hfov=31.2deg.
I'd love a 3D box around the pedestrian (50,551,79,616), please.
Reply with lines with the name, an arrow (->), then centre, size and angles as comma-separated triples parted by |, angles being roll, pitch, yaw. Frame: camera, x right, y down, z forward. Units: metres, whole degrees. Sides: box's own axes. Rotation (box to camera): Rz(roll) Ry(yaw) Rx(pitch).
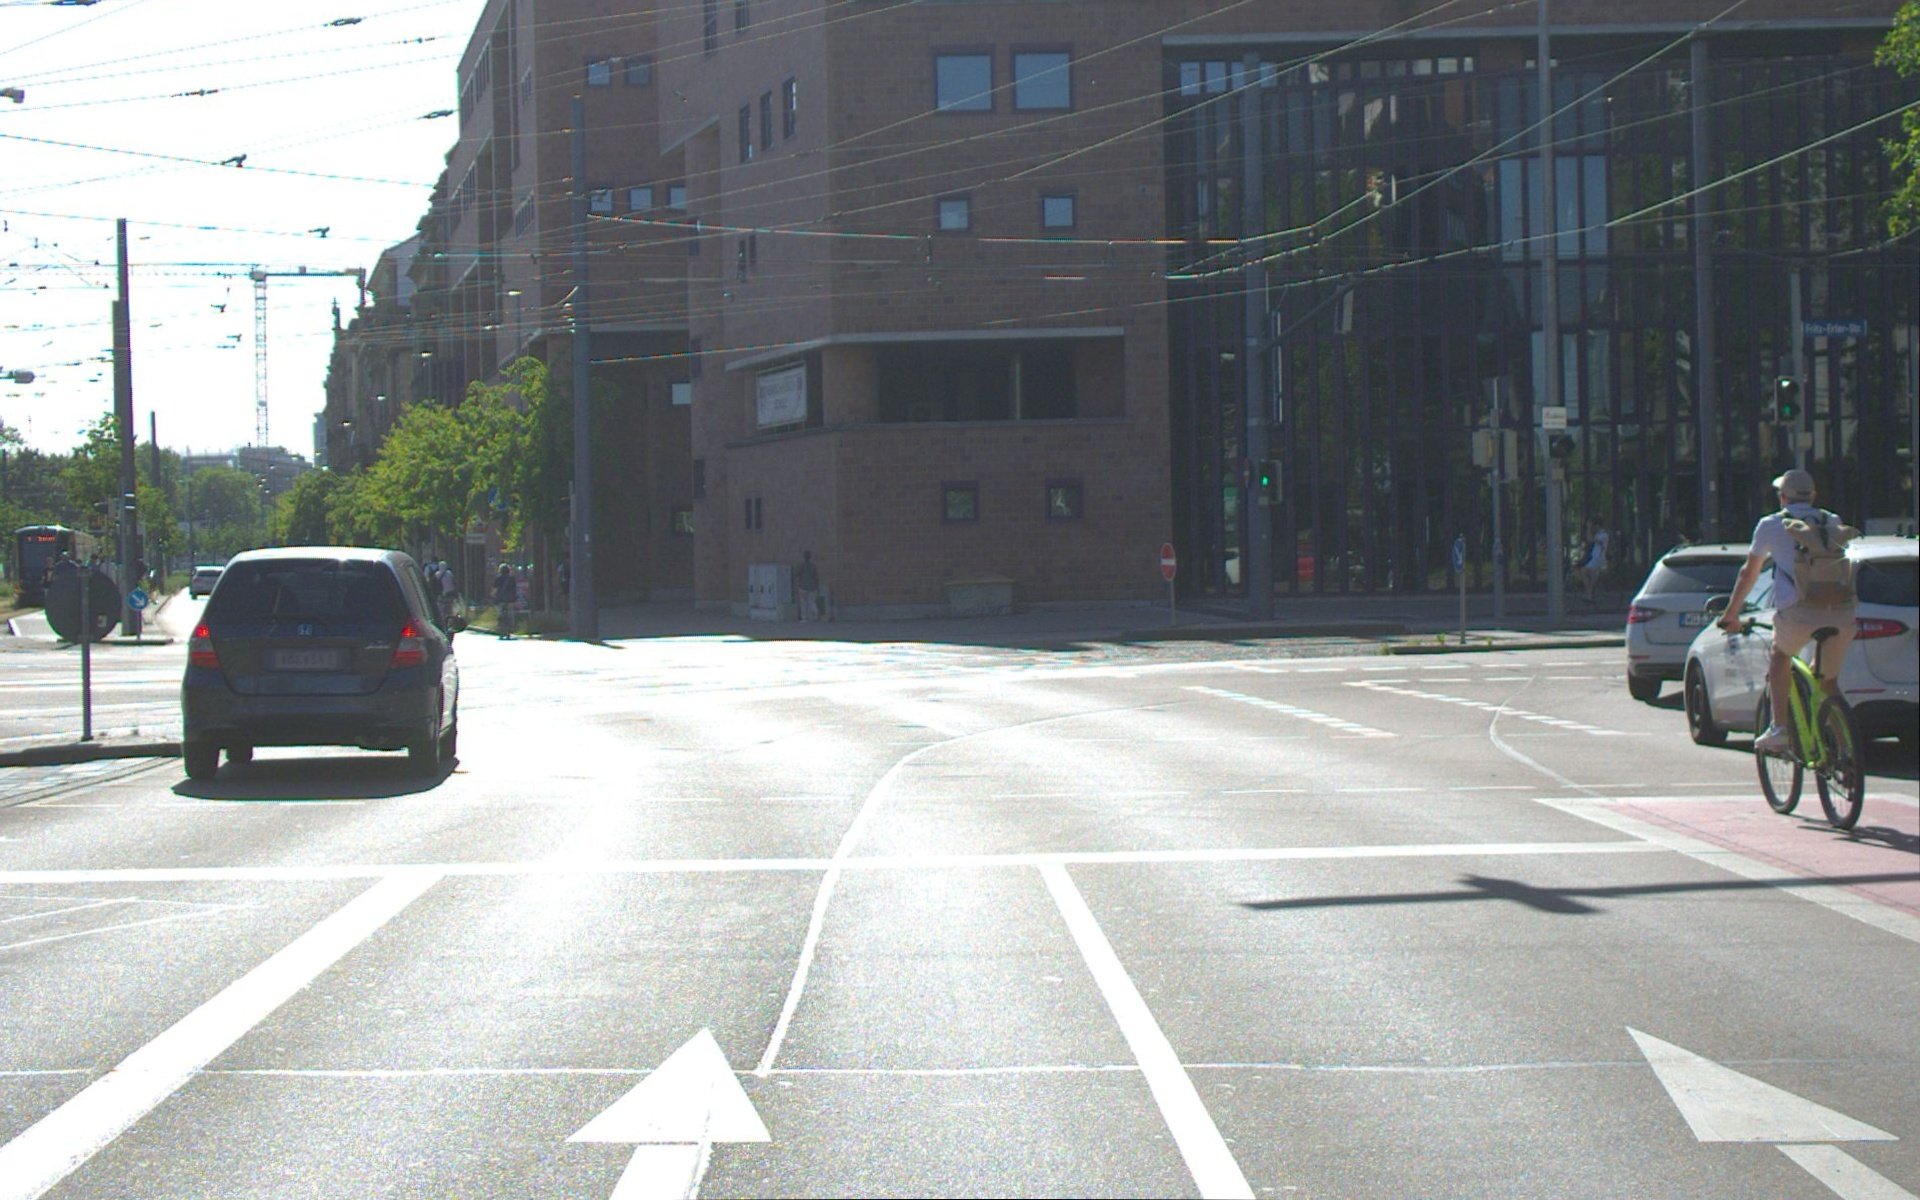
pedestrian -> -23.446, -0.433, 89.998 | 0.614, 1.663, 0.864 | -4, 2, -15

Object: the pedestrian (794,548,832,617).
pedestrian -> -3.371, -0.407, 78.590 | 0.617, 1.558, 0.987 | -2, 1, -15

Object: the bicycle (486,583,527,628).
bicycle -> -10.167, 0.120, 77.011 | 0.603, 0.982, 2.315 | -1, 1, -15

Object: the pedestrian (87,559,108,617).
pedestrian -> -24.895, -0.338, 99.214 | 0.538, 1.649, 0.896 | -2, 1, -15

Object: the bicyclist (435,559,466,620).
bicyclist -> -12.893, -0.258, 86.943 | 0.667, 1.521, 0.707 | -1, 0, -15

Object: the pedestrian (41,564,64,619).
pedestrian -> -26.130, -0.242, 98.957 | 0.600, 1.561, 0.914 | -2, 1, -15

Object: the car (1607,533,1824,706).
car -> 7.319, 0.131, 33.343 | 1.907, 1.536, 4.136 | 1, 1, 12

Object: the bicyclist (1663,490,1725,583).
bicyclist -> 13.144, -1.138, 61.567 | 0.862, 1.624, 0.672 | -2, 1, -11

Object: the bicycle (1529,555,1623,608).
bicycle -> 11.997, -0.360, 66.938 | 1.668, 0.991, 0.673 | -2, 1, -22

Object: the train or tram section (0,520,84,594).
train or tram section -> -39.462, -1.880, 148.070 | 2.326, 2.993, 13.163 | -1, 1, -10

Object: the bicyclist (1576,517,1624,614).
bicyclist -> 12.471, -0.673, 66.995 | 0.605, 1.877, 0.651 | -2, 1, -22

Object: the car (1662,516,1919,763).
car -> 6.423, 0.213, 24.206 | 1.906, 1.578, 4.139 | 1, 1, -3

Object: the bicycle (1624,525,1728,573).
bicycle -> 12.814, -0.916, 61.516 | 1.668, 0.803, 0.673 | -2, 1, -11

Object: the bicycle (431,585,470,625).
bicycle -> -12.904, 0.124, 87.014 | 0.667, 0.982, 2.586 | -1, 1, -15

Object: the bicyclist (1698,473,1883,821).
bicyclist -> 4.314, 0.220, 17.913 | 0.649, 1.746, 1.045 | -1, 2, -2

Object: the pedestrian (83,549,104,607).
pedestrian -> -25.008, -0.638, 99.171 | 0.538, 1.649, 0.707 | -2, 1, -15

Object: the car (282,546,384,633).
car -> -14.798, -0.257, 80.957 | 1.993, 1.941, 4.001 | -2, 1, -15

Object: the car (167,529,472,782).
car -> -4.316, 0.319, 23.634 | 1.726, 1.558, 3.678 | -1, 1, -6

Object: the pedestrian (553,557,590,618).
pedestrian -> -11.184, -0.356, 98.951 | 0.879, 1.711, 0.931 | -2, 1, -15

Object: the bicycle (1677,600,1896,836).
bicycle -> 4.311, 0.588, 18.047 | 0.649, 1.106, 1.758 | -1, 2, -2

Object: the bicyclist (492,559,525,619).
bicyclist -> -10.047, -0.250, 76.534 | 0.592, 1.331, 0.933 | -1, 1, -15
